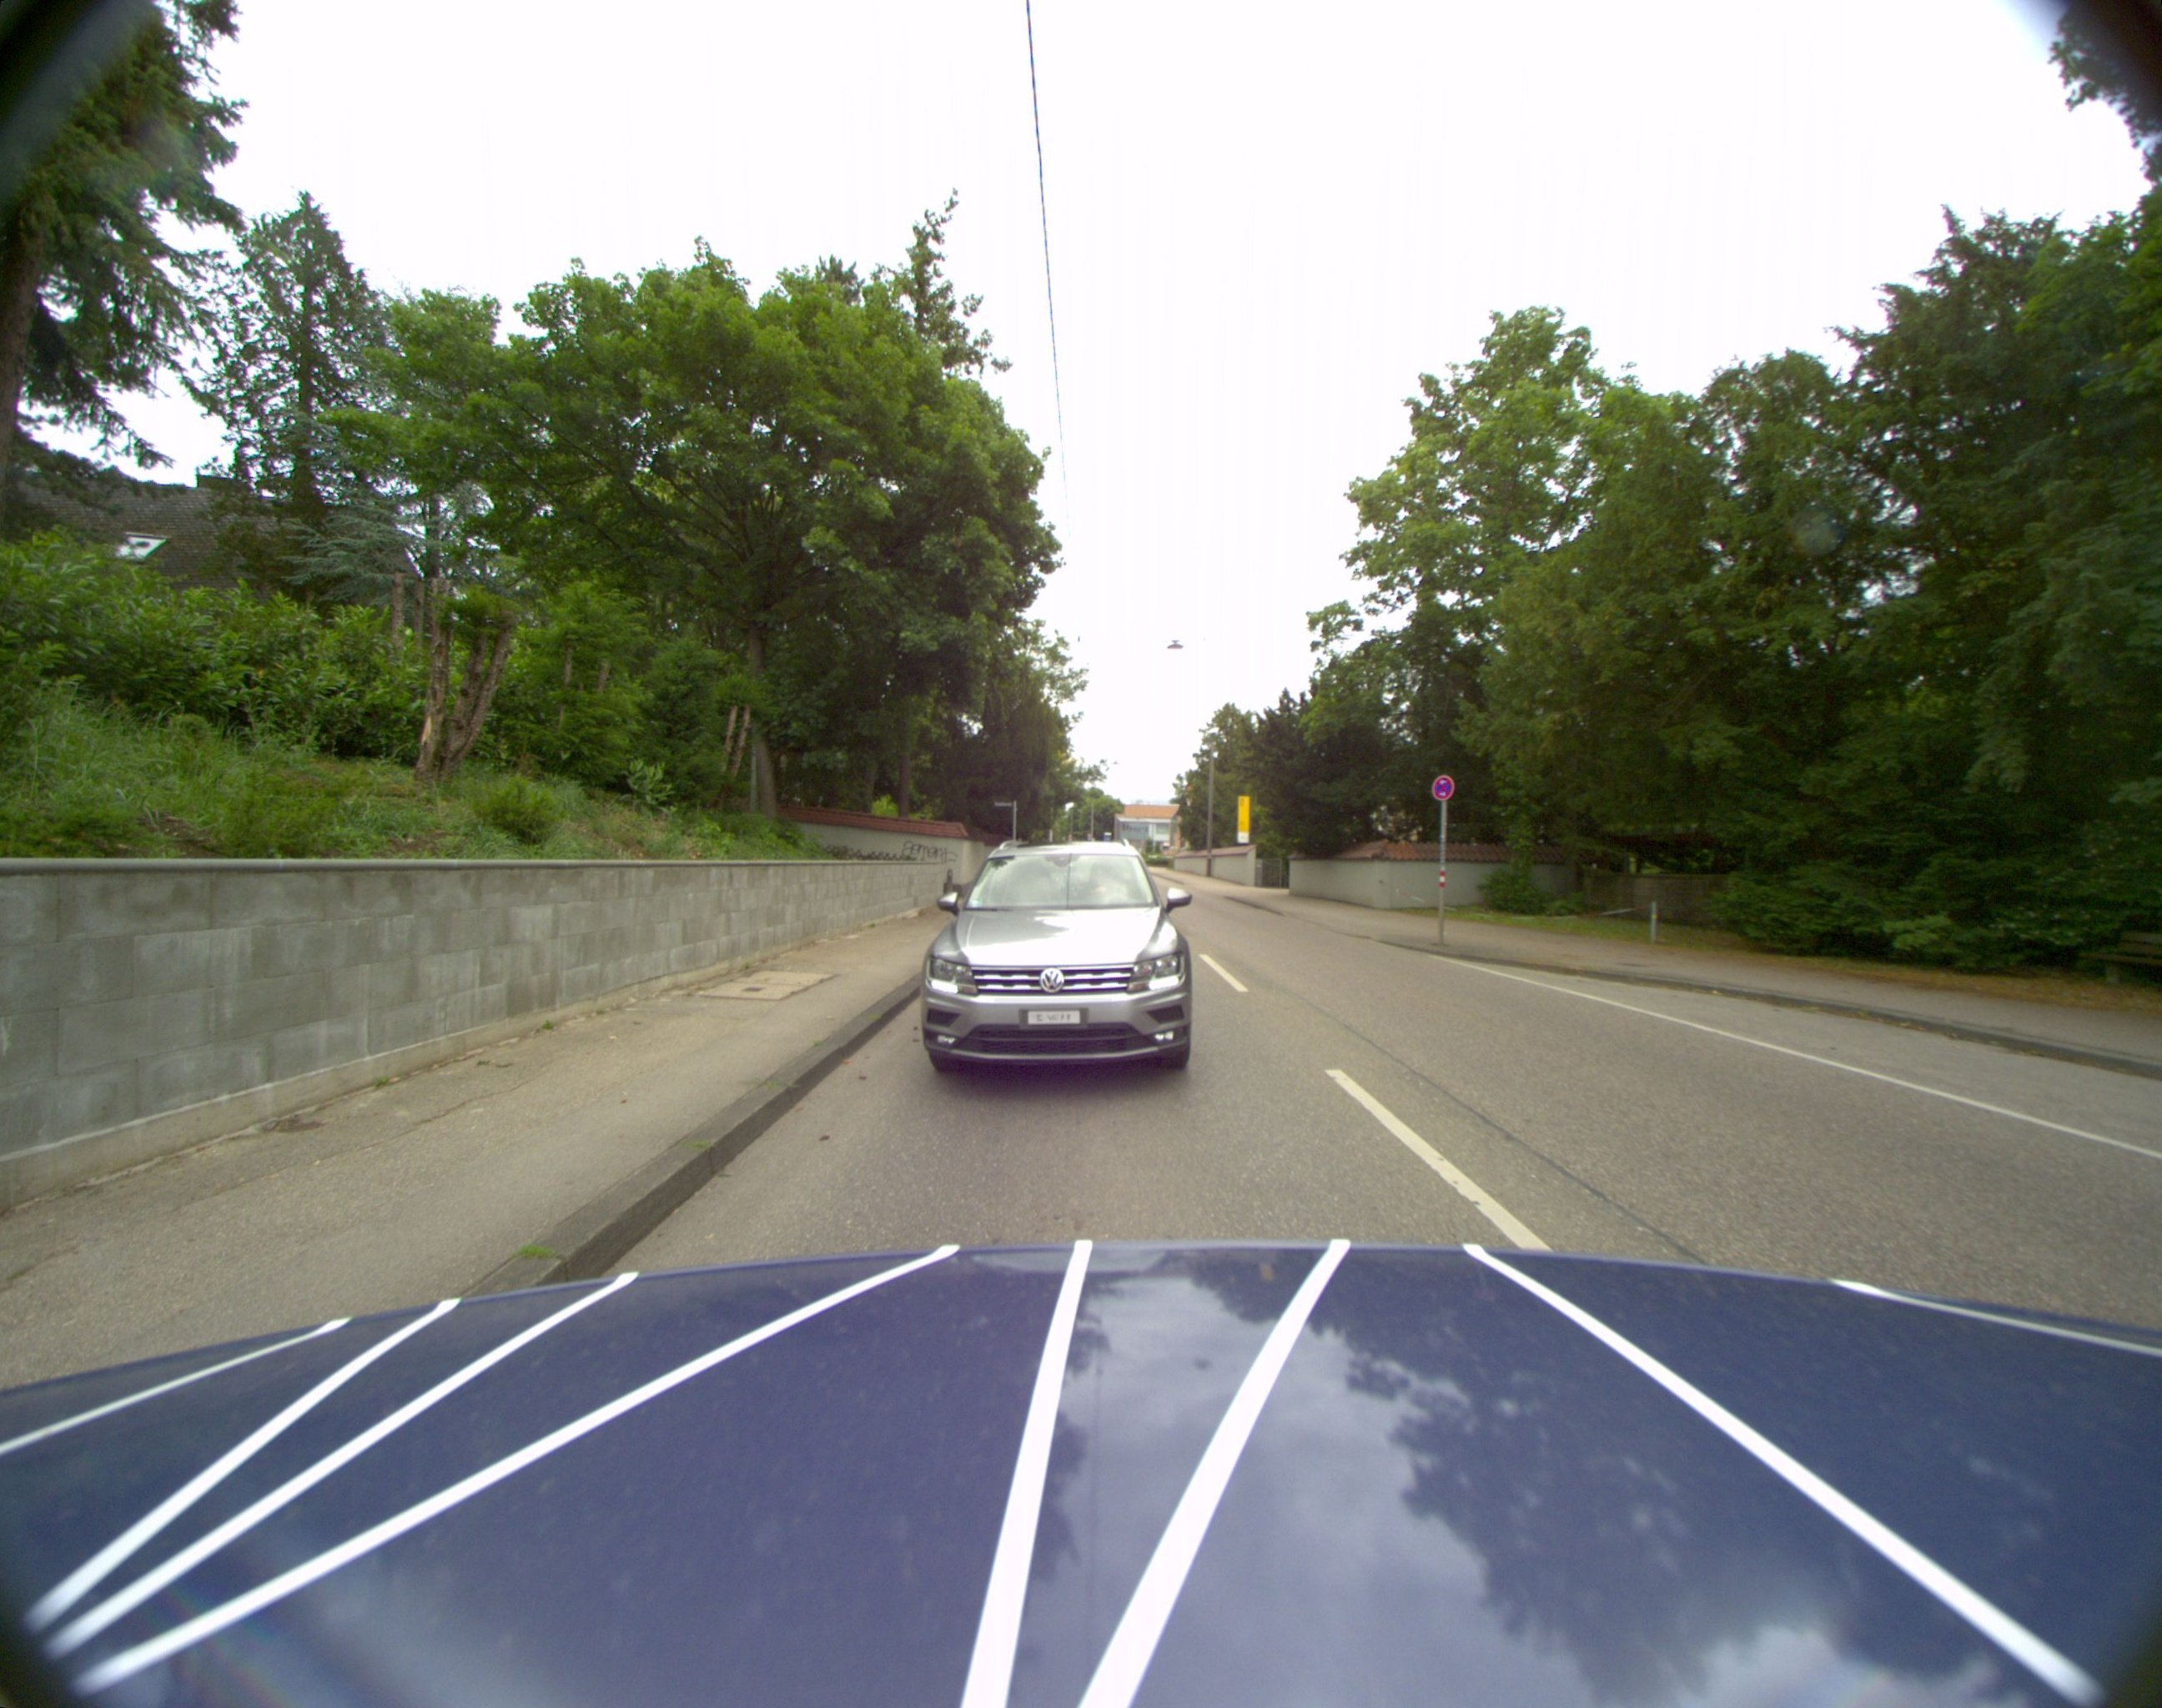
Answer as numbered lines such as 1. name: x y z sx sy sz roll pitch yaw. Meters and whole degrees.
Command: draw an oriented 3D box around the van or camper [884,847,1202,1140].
1. van or camper: -0.193 0.787 6.433 1.800 1.663 4.198 0 0 1
